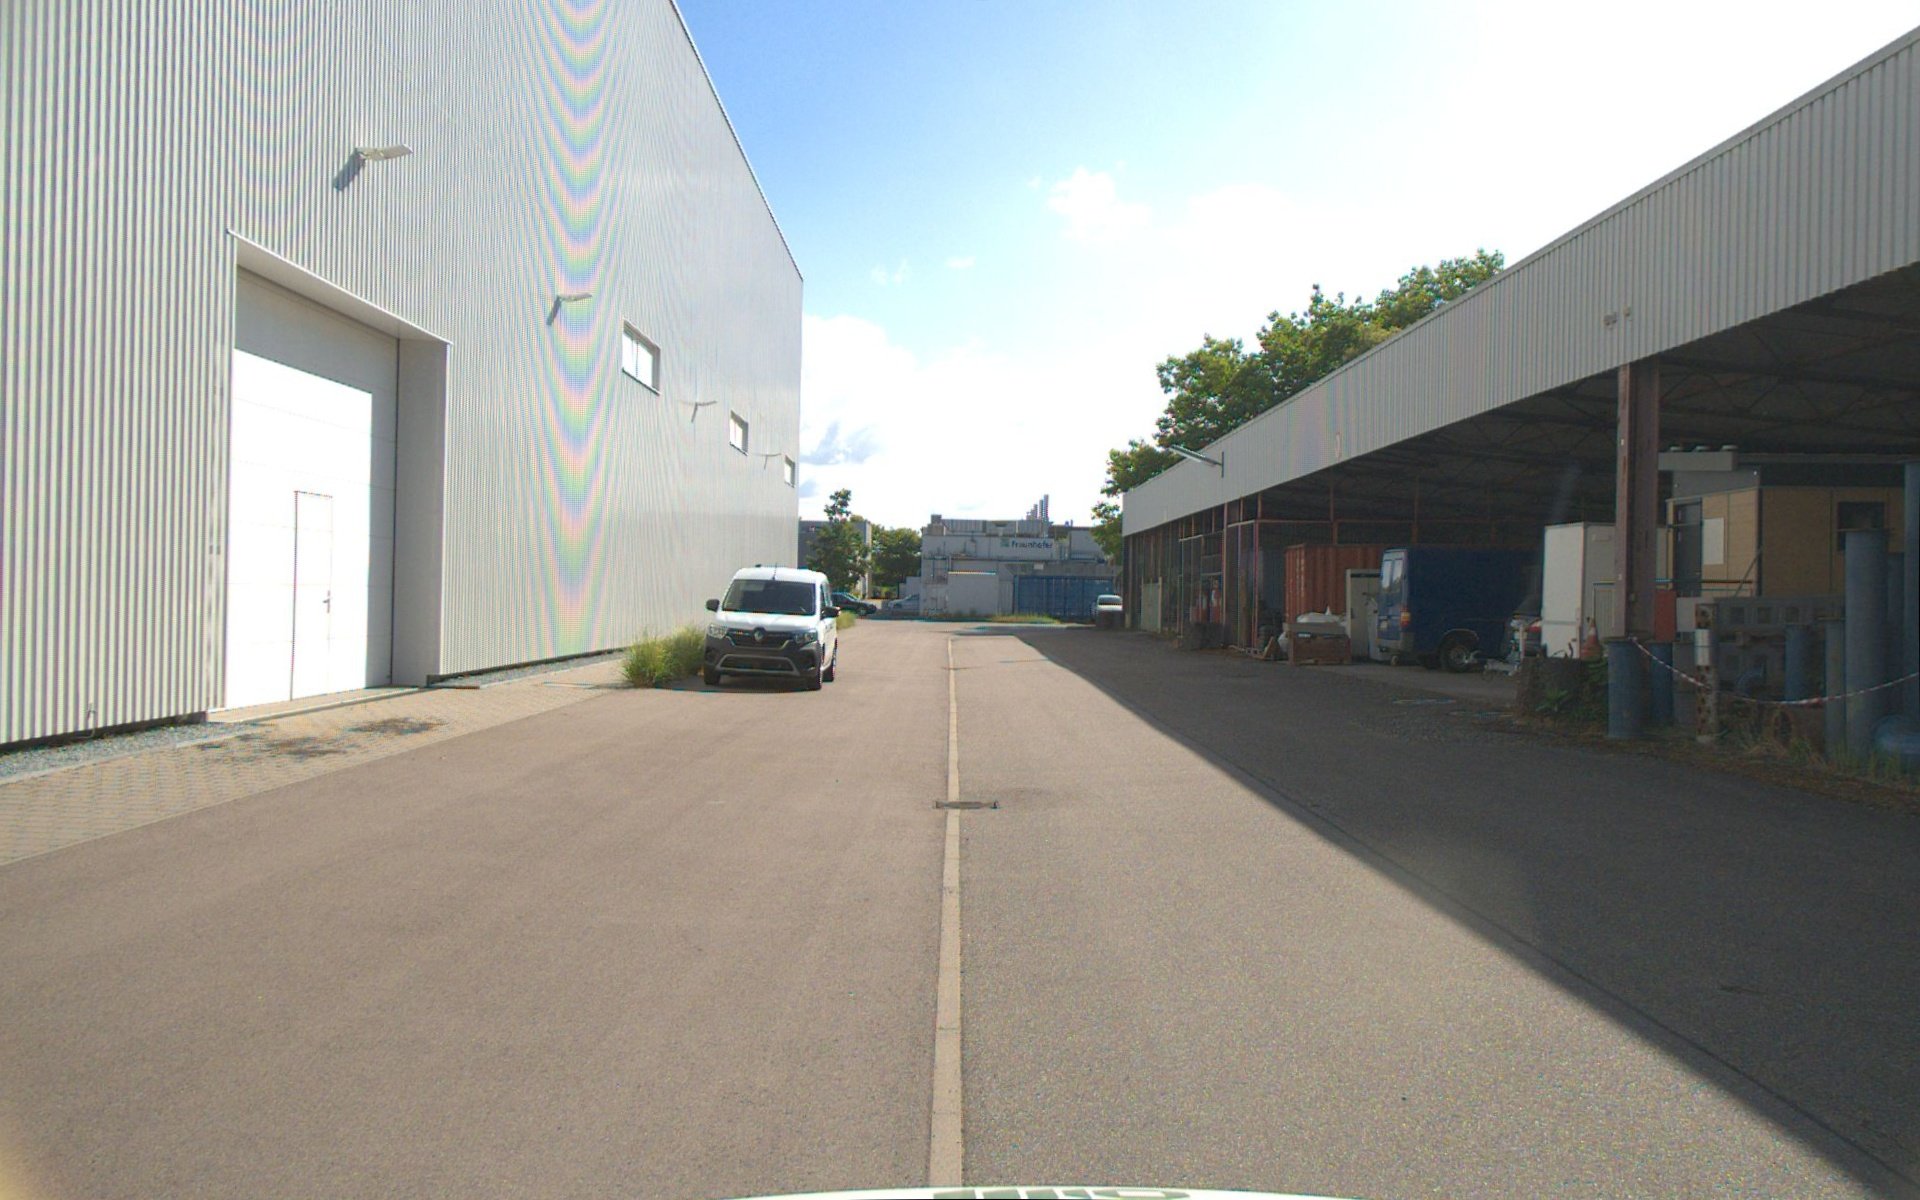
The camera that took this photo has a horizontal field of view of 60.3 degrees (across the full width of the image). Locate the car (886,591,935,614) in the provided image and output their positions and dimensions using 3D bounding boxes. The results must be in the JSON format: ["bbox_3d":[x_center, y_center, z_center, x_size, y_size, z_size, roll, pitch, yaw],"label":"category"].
[{"bbox_3d":[-4.052,0.205,136.155,3.906,1.626,1.847,2,-2,-2],"label":"car"}]

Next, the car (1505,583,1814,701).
[{"bbox_3d":[10.500,0.640,25.009,3.955,1.551,1.684,2,-2,0],"label":"car"}]

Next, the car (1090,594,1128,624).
[{"bbox_3d":[8.623,0.503,95.982,1.921,1.592,4.060,2,1,2],"label":"car"}]

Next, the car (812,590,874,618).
[{"bbox_3d":[-7.622,0.300,108.240,3.906,1.626,1.741,2,-2,-2],"label":"car"}]

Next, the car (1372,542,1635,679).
[{"bbox_3d":[10.283,0.226,31.528,4.342,2.350,1.915,2,-2,0],"label":"car"}]

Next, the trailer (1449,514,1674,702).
[{"bbox_3d":[8.209,0.114,22.722,2.471,2.441,1.727,1,-1,0],"label":"trailer"}]

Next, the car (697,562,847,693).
[{"bbox_3d":[-2.868,0.383,26.072,1.781,1.818,4.405,2,0,0],"label":"car"}]

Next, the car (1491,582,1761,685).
[{"bbox_3d":[11.384,0.590,28.441,3.955,1.551,1.684,2,-2,0],"label":"car"}]
